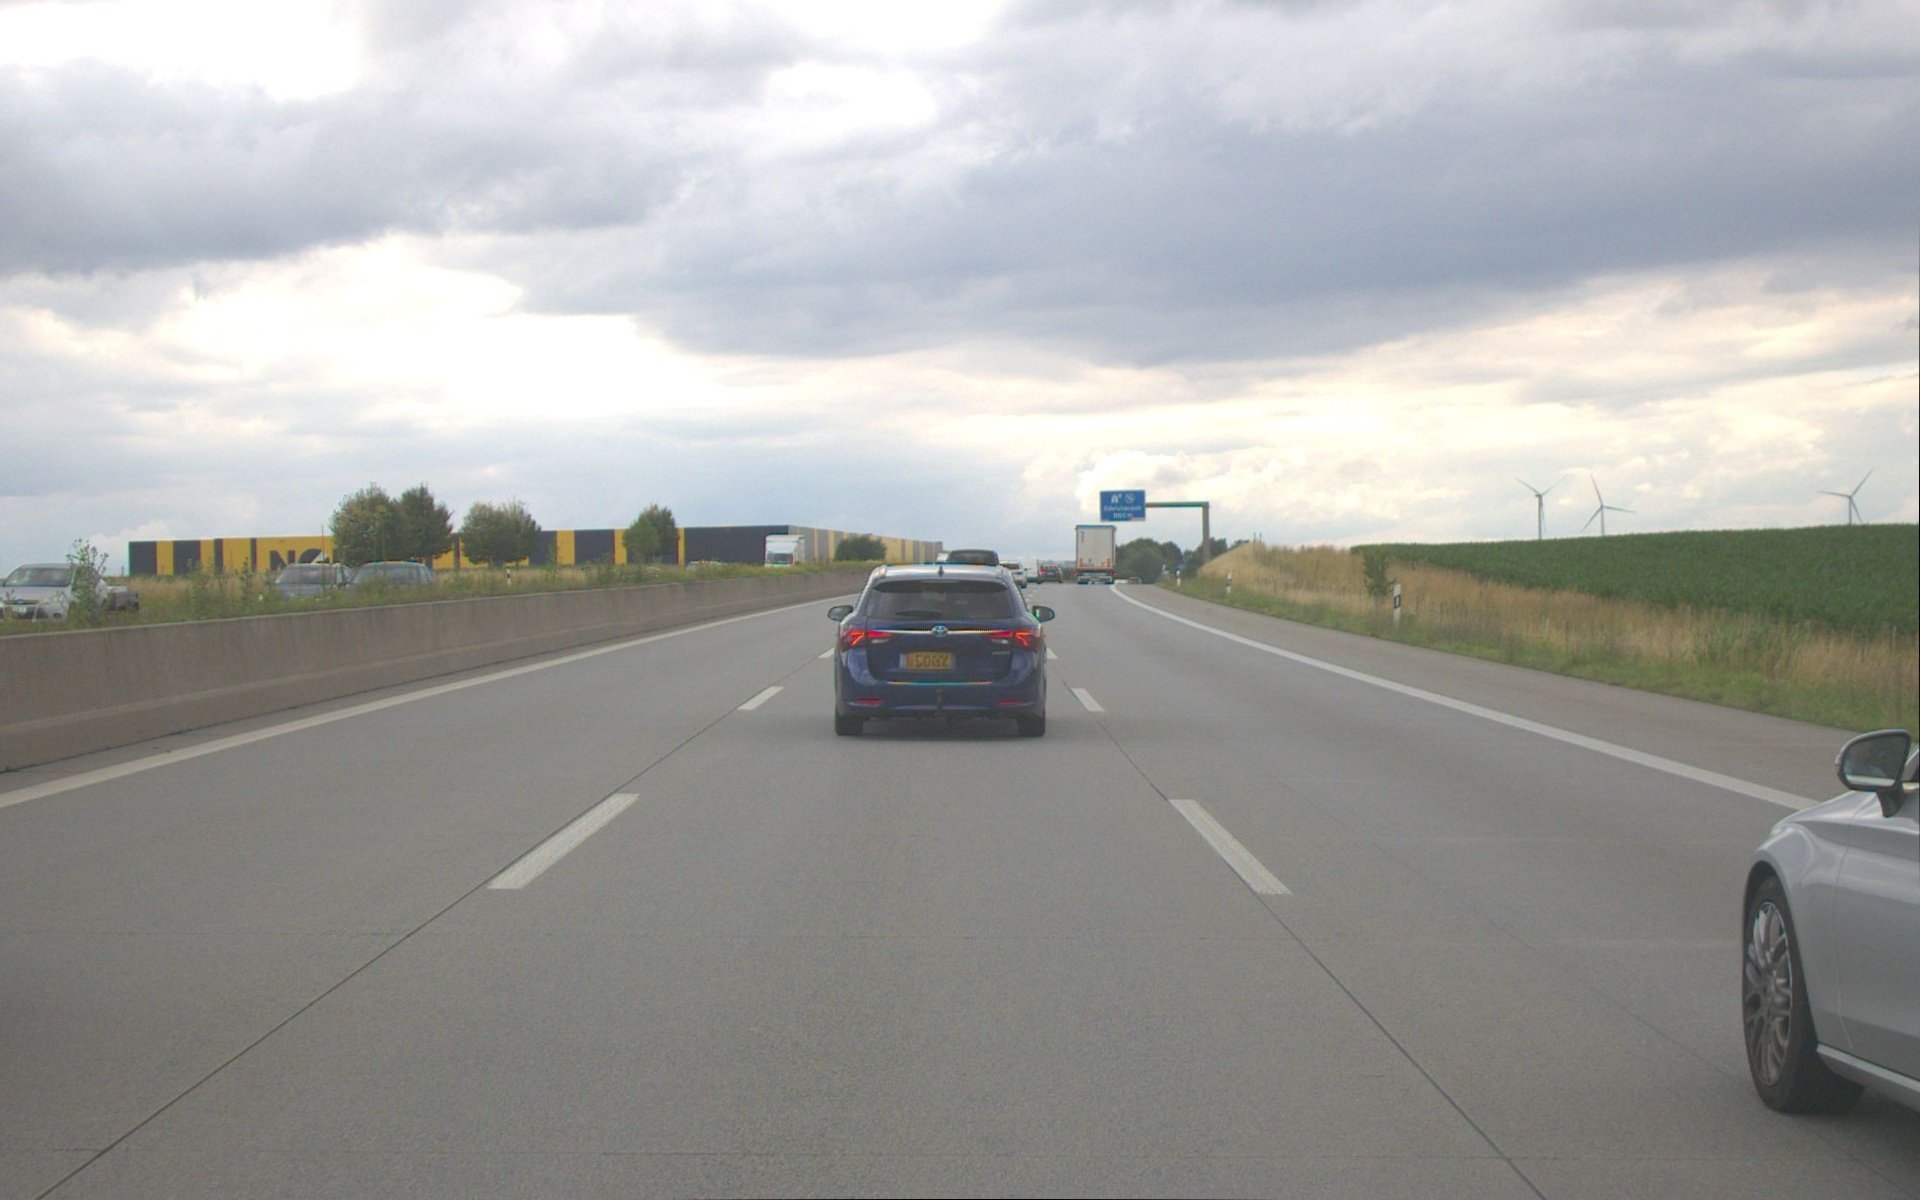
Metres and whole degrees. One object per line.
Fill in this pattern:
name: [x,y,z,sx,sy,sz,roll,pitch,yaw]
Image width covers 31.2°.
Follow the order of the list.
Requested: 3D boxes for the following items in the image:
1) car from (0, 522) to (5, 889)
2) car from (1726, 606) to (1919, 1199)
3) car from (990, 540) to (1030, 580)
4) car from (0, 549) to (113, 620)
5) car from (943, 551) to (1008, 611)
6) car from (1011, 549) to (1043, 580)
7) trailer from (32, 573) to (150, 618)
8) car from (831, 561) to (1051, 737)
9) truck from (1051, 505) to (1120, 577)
car: [-4.150,0.544,9.565,1.792,1.590,5.158,1,1,-3]
car: [3.074,0.738,7.441,1.788,1.399,4.221,0,0,-1]
car: [2.602,-2.092,180.933,1.993,2.007,4.000,2,1,0]
car: [-19.861,-0.329,74.322,1.897,1.465,4.850,1,0,0]
car: [0.531,-0.655,119.210,1.993,2.007,4.000,1,0,-3]
car: [4.488,-2.372,230.755,1.993,2.007,4.000,1,0,-1]
trailer: [-19.810,-0.093,78.504,1.787,0.980,3.563,1,0,0]
car: [-0.206,0.382,29.755,1.774,1.408,4.000,0,0,-1]
truck: [8.666,-4.012,239.133,3.950,4.740,12.076,1,0,-1]
